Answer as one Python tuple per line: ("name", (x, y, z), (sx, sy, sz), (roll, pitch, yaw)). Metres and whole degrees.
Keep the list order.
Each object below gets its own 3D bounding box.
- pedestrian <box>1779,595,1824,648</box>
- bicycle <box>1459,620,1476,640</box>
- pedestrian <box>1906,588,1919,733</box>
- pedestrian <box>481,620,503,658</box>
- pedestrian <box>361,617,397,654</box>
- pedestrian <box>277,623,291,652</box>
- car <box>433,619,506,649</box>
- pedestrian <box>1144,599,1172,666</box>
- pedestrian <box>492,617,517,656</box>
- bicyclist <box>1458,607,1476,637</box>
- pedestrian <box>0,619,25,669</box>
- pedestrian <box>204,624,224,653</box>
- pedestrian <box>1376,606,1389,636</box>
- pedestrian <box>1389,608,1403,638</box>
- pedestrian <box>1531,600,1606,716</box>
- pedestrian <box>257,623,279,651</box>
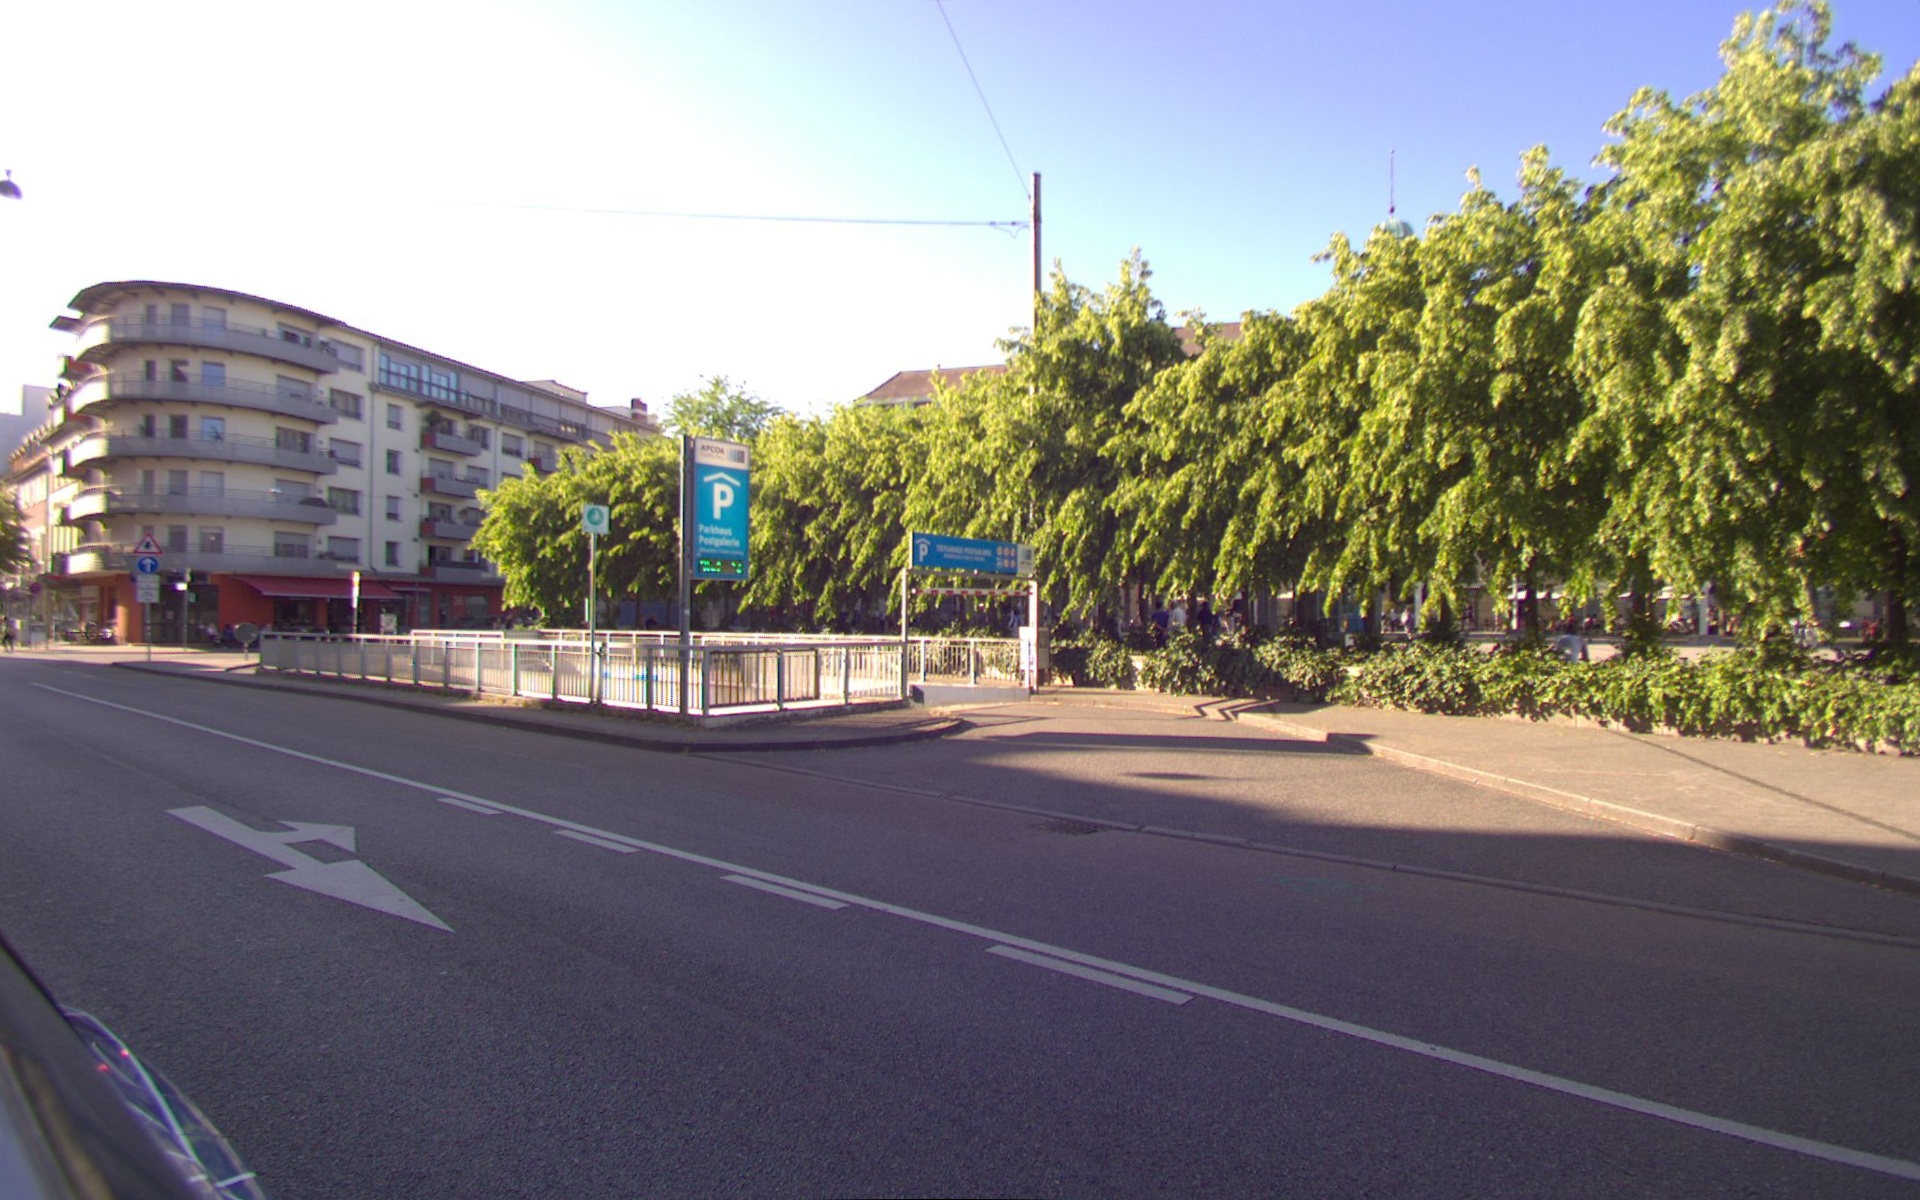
("pedestrian", (28.644, 0.720, 34.476), (0.889, 1.771, 0.734), (-1, -1, 10))
("bicycle", (24.478, 1.457, 48.796), (0.587, 0.961, 1.886), (-1, -3, 31))
("pedestrian", (12.256, 0.736, 12.458), (0.885, 1.771, 0.738), (0, -1, -39))
("pedestrian", (-21.679, 1.812, 46.885), (0.697, 1.719, 0.667), (-1, -1, 33))
("pedestrian", (-32.485, 1.965, 56.604), (1.251, 2.029, 1.226), (-1, -1, 19))
("pedestrian", (-35.418, 1.978, 52.994), (0.573, 1.501, 0.794), (0, -1, -36))
("car", (-30.628, 2.083, 63.306), (1.983, 1.763, 3.977), (-1, -1, 17))
("pedestrian", (5.049, 0.822, 25.793), (0.672, 1.683, 0.843), (-1, -1, 13))
("pedestrian", (-21.388, 1.716, 47.536), (0.753, 1.819, 0.748), (-1, -1, 25))
("bicyclist", (24.461, 1.072, 48.796), (0.671, 1.439, 0.690), (-1, -1, 34))
("pedestrian", (-39.786, 1.832, 42.030), (1.003, 2.029, 1.203), (-1, 0, -19))
("pedestrian", (-37.841, 1.945, 51.304), (0.780, 1.472, 0.583), (0, -1, -40))
("pedestrian", (27.767, 1.373, 66.521), (0.751, 1.948, 0.938), (-1, -1, 20))
("pedestrian", (28.486, 1.508, 66.135), (0.751, 1.948, 0.938), (-1, -1, 20))
("pedestrian", (9.664, 0.892, 16.077), (0.885, 1.771, 0.738), (0, -1, -39))
("pedestrian", (-36.838, 1.982, 53.874), (0.782, 1.473, 0.582), (0, -1, 3))
